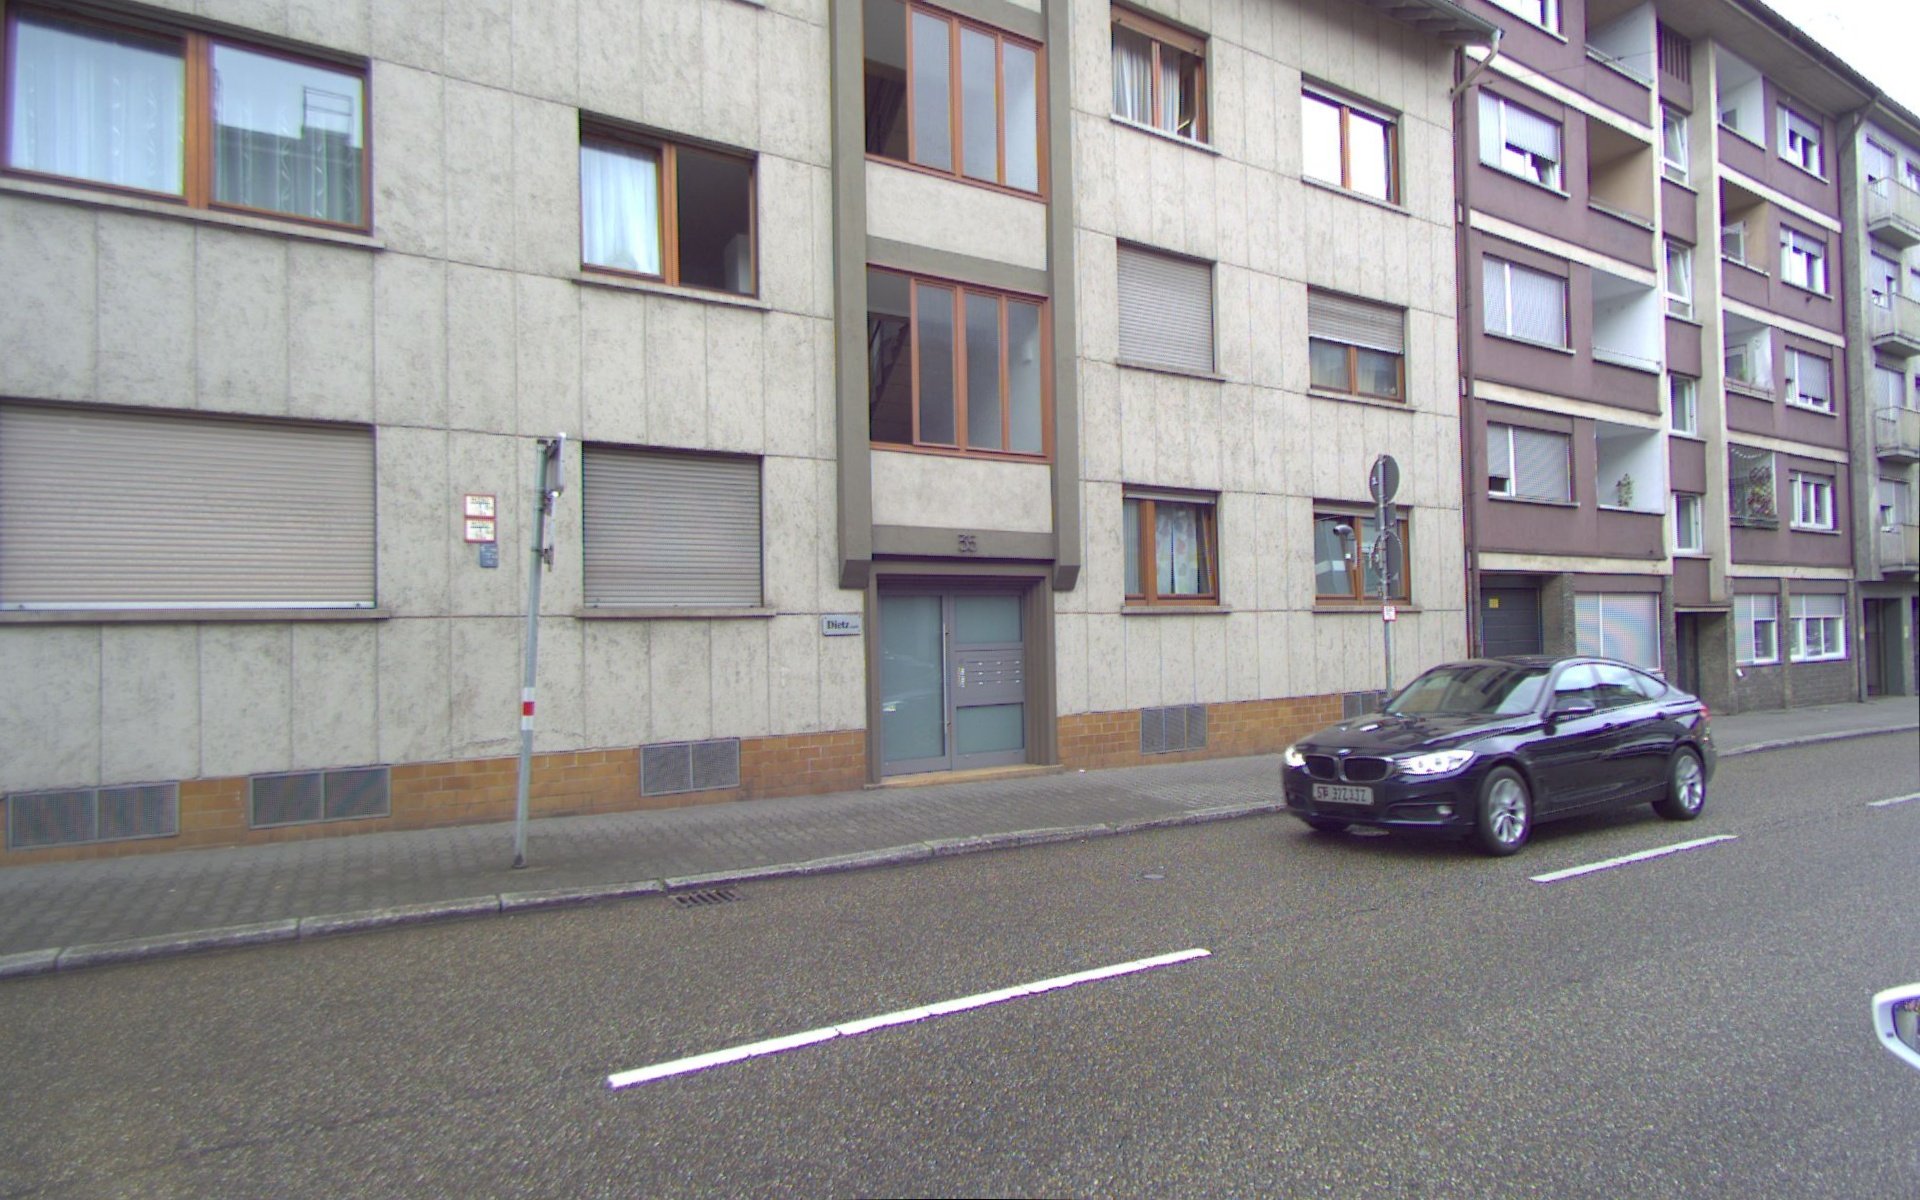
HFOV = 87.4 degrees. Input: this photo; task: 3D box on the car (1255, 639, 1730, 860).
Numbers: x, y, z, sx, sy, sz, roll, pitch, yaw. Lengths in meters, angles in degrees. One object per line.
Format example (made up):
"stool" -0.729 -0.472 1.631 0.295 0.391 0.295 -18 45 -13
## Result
"car" 4.856 1.210 9.005 4.386 1.558 1.687 2 -7 -31
